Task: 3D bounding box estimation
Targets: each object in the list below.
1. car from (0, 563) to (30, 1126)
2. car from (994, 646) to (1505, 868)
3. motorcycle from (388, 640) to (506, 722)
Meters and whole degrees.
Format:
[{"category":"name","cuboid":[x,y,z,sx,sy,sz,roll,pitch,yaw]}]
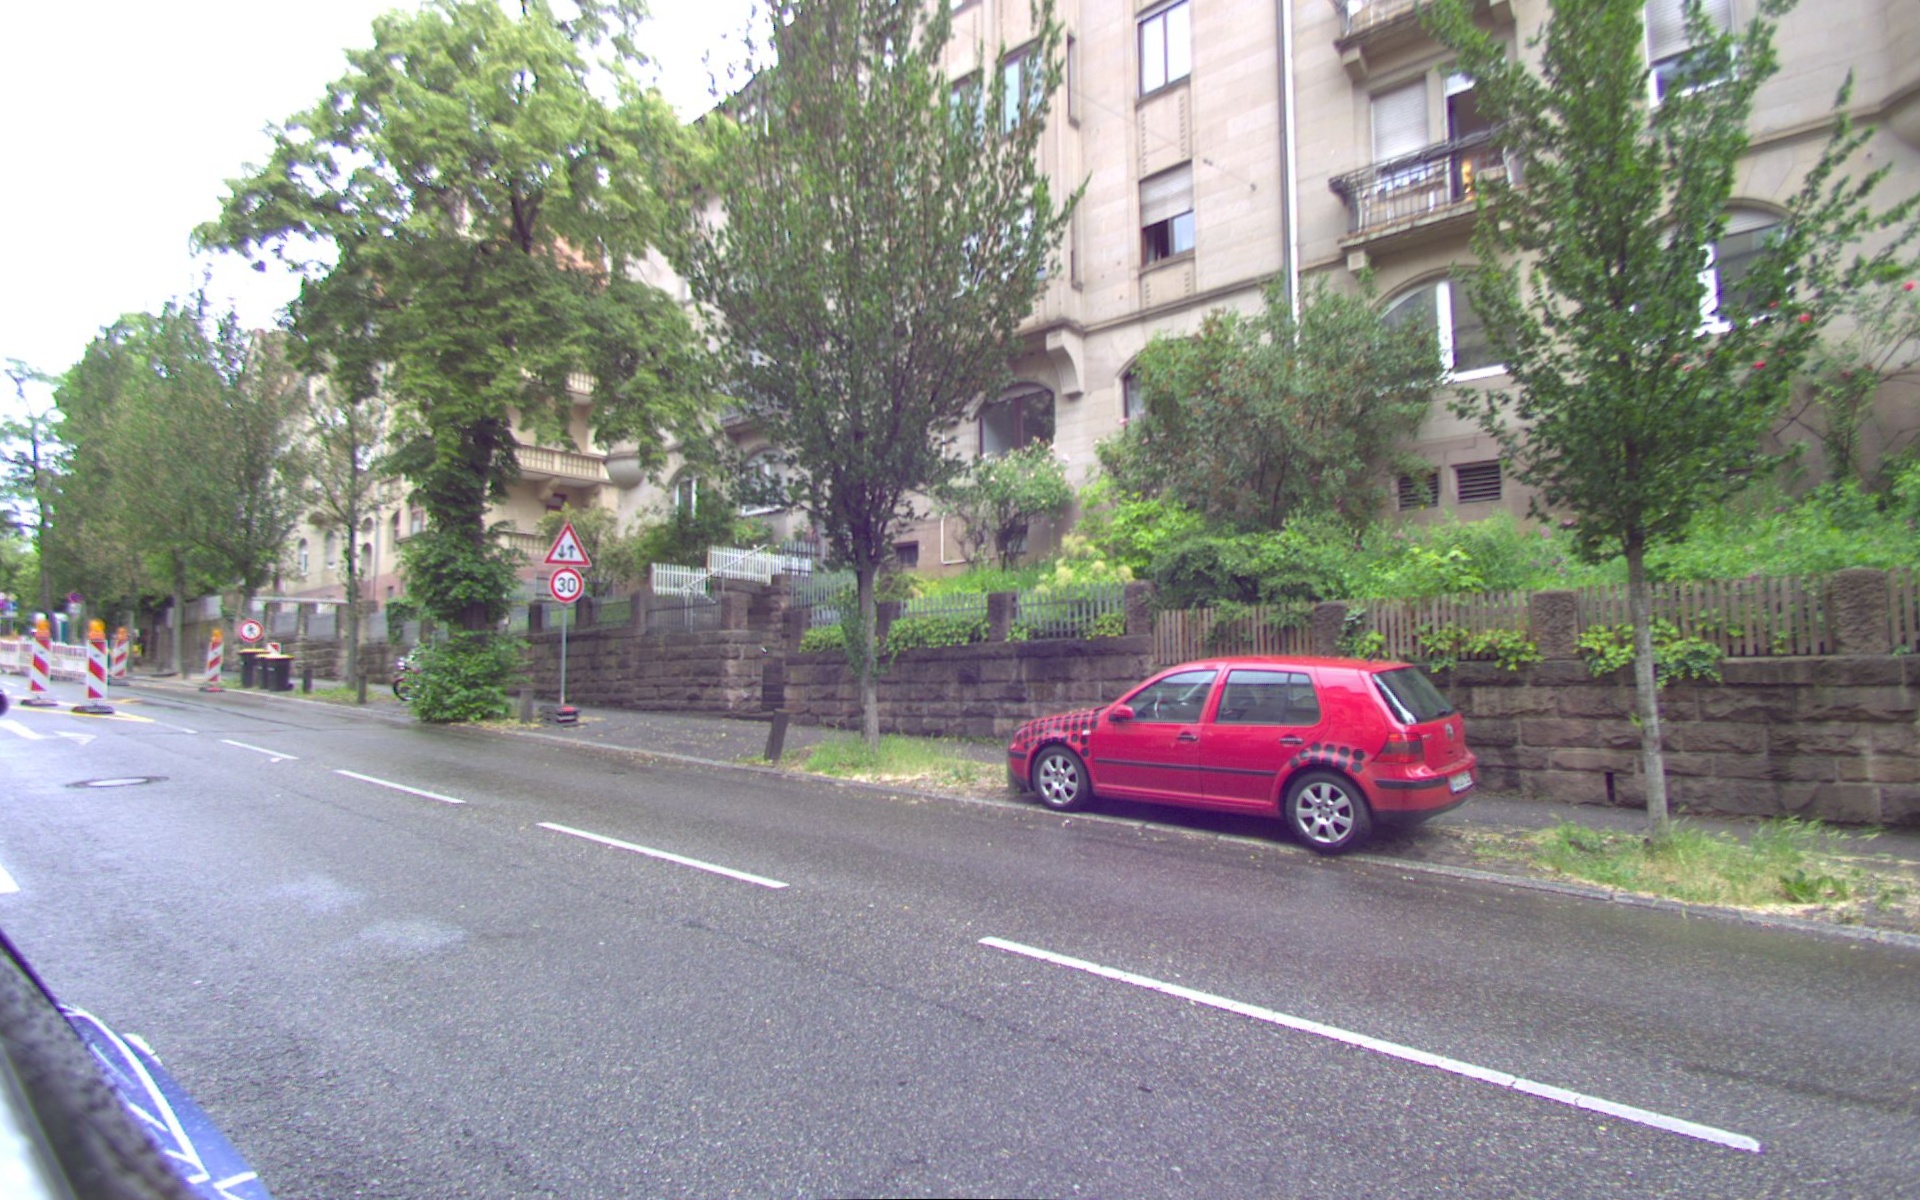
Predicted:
[{"category":"car","cuboid":[-5.123,0.758,3.911,4.520,1.685,1.799,-2,-3,42]},{"category":"car","cuboid":[2.362,1.173,8.938,4.062,1.462,1.596,-1,-2,42]},{"category":"motorcycle","cuboid":[-9.786,1.483,19.220,3.058,1.425,0.792,-2,-1,38]}]
